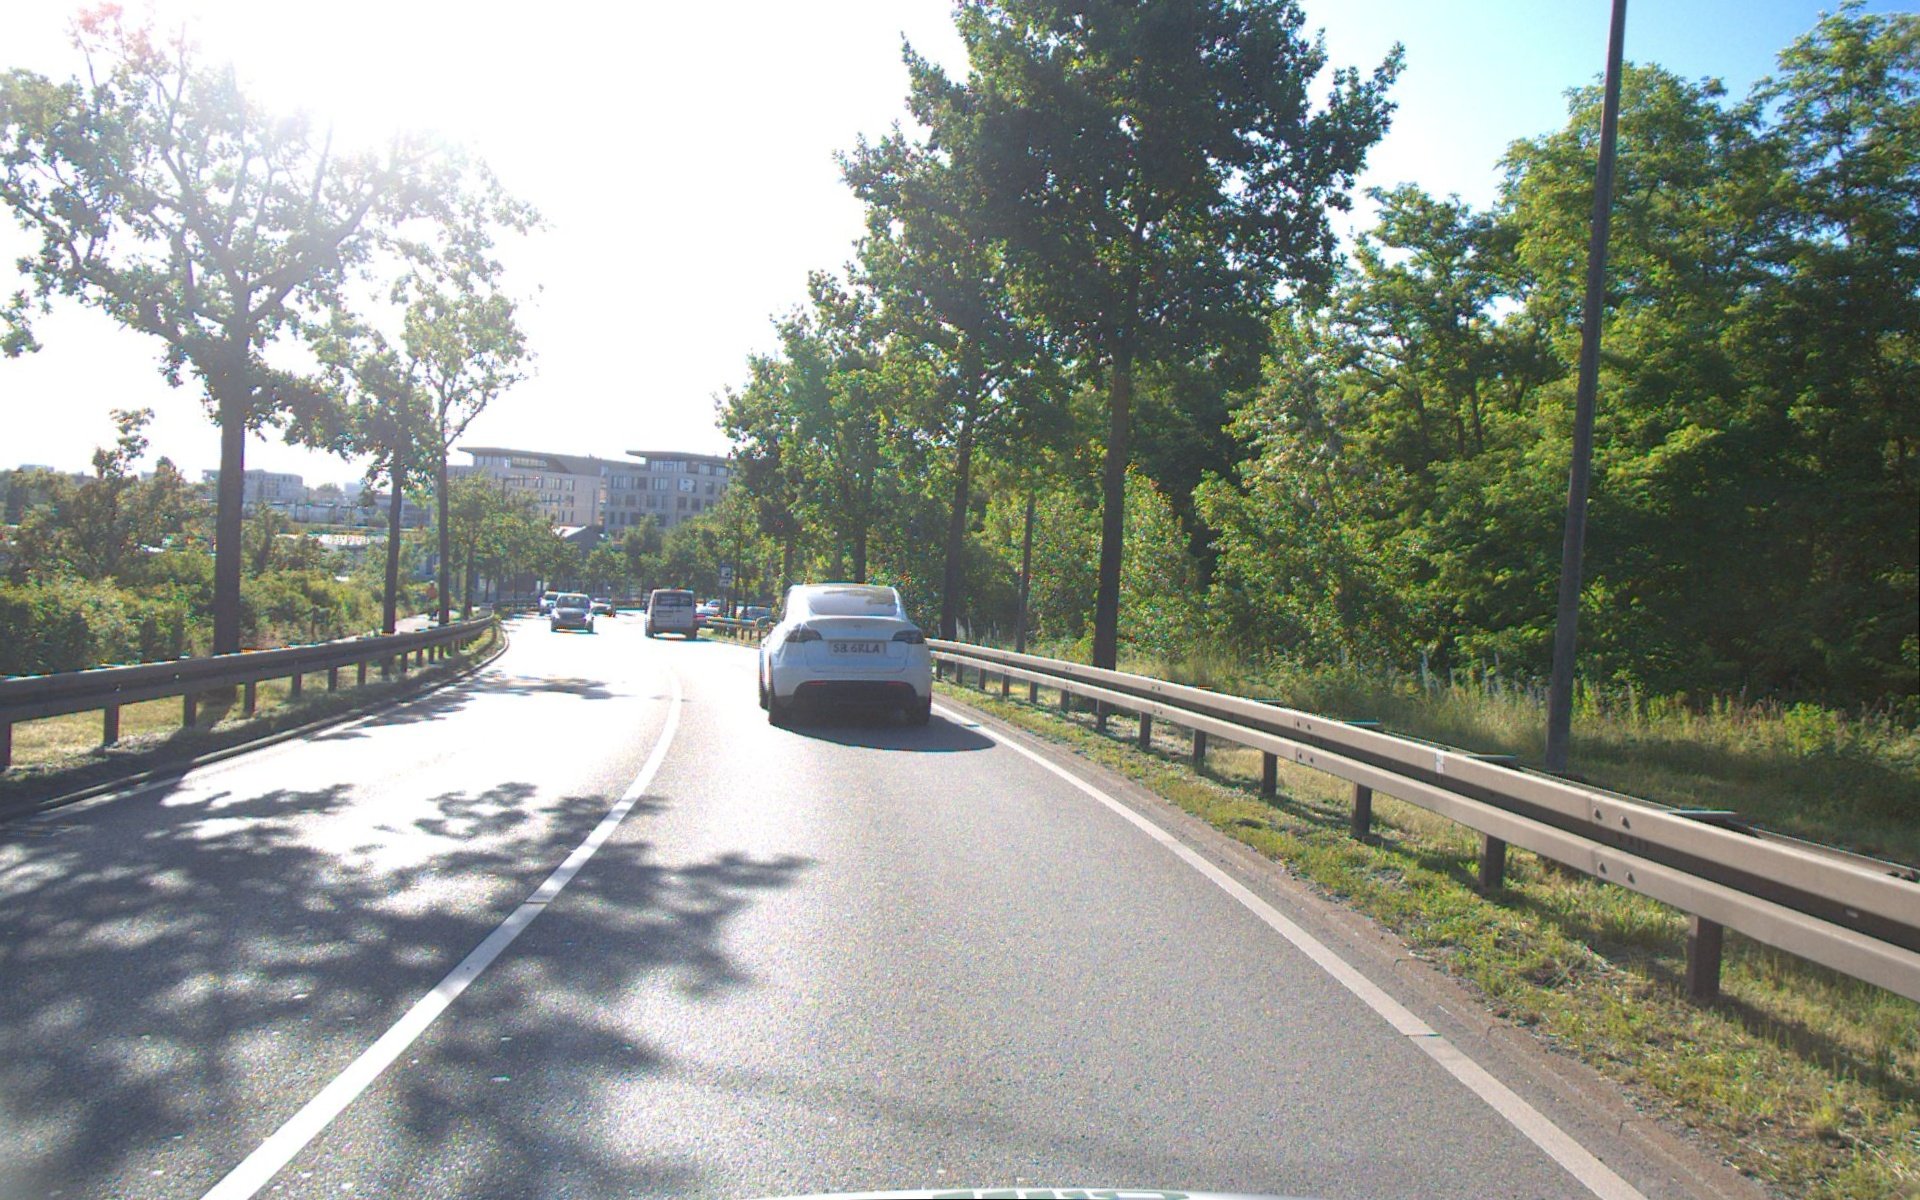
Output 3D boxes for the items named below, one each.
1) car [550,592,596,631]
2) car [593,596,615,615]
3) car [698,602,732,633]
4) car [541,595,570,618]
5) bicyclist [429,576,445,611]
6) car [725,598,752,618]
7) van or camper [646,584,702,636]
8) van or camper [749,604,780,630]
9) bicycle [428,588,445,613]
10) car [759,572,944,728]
[{"bbox_3d":[-16.420,0.465,70.012,1.779,1.581,4.125,1,0,-14],"label":"car"},{"bbox_3d":[-29.083,0.460,135.083,1.662,1.466,4.202,1,0,-13],"label":"car"},{"bbox_3d":[-15.849,1.100,107.299,1.873,1.833,4.124,4,0,-6],"label":"car"},{"bbox_3d":[-27.845,0.413,113.735,1.819,1.518,4.698,1,0,-15],"label":"car"},{"bbox_3d":[-24.464,-0.303,77.325,0.641,1.652,0.870,1,0,-15],"label":"bicyclist"},{"bbox_3d":[-21.307,0.770,159.236,1.871,1.833,4.128,4,0,0],"label":"car"},{"bbox_3d":[-11.263,0.379,65.489,1.921,1.917,4.872,1,0,-7],"label":"van or camper"},{"bbox_3d":[-15.740,1.338,133.258,1.789,1.821,4.545,4,1,0],"label":"van or camper"},{"bbox_3d":[-24.456,0.014,77.310,0.649,1.114,2.100,1,0,-15],"label":"bicycle"},{"bbox_3d":[-1.443,0.541,20.294,1.878,1.669,4.402,1,0,-8],"label":"car"}]
